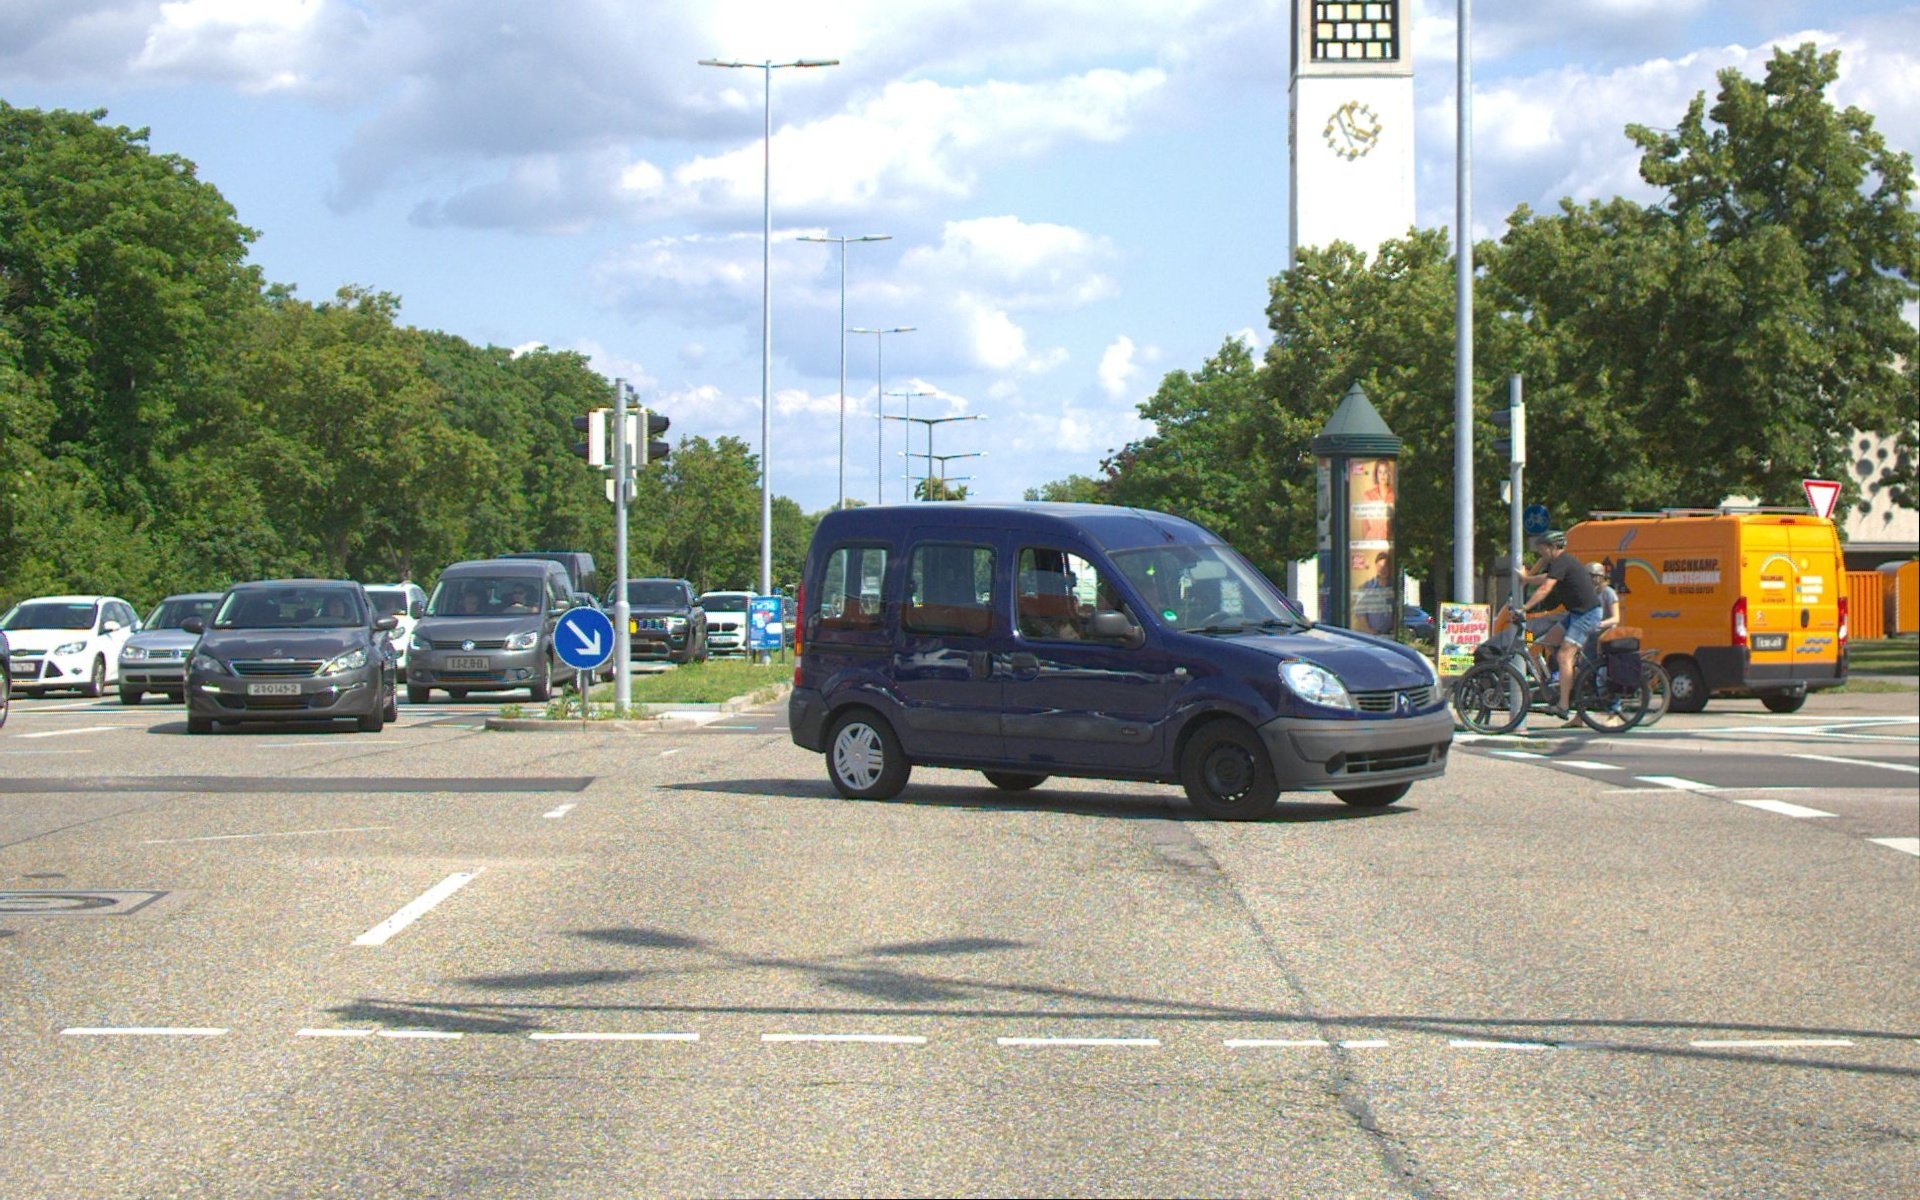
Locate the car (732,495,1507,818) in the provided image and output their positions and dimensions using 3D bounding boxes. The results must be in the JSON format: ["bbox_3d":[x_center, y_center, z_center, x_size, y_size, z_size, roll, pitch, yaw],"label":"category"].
[{"bbox_3d":[0.860,0.278,20.006,4.226,1.654,1.736,2,0,38],"label":"car"}]

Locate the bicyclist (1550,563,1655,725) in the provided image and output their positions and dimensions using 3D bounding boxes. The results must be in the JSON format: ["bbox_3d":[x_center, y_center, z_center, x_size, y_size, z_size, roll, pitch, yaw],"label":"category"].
[{"bbox_3d":[6.507,0.435,34.849,0.698,1.610,0.797,0,0,-24],"label":"bicyclist"}]

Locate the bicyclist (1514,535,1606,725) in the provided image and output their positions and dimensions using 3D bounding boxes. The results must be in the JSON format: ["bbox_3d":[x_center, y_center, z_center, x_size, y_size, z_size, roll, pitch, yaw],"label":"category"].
[{"bbox_3d":[5.763,0.281,33.046,0.787,1.798,0.686,0,0,4],"label":"bicyclist"}]

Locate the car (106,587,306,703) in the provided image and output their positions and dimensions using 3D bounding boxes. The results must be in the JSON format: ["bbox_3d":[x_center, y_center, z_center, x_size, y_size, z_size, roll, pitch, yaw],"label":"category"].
[{"bbox_3d":[-9.816,0.568,45.033,1.725,1.393,4.000,2,0,-1],"label":"car"}]

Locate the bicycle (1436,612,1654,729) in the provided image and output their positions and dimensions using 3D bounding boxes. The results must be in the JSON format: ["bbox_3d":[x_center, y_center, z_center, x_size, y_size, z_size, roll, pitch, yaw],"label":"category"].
[{"bbox_3d":[5.613,0.668,33.062,1.997,1.090,0.686,0,0,4],"label":"bicycle"}]

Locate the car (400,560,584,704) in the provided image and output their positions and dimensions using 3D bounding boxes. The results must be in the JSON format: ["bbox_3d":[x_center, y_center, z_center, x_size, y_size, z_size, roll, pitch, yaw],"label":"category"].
[{"bbox_3d":[-5.925,0.369,43.951,1.734,1.654,4.231,2,1,0],"label":"car"}]

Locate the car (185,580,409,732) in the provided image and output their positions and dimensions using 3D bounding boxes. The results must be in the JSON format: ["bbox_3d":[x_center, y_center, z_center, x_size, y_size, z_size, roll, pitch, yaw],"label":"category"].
[{"bbox_3d":[-6.225,0.502,32.578,1.568,1.311,3.432,2,0,-3],"label":"car"}]

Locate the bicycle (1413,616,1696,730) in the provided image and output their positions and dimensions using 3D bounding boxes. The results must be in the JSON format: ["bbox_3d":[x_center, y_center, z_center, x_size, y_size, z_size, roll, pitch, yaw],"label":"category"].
[{"bbox_3d":[5.994,0.721,34.632,2.832,1.108,0.797,0,1,-24],"label":"bicycle"}]

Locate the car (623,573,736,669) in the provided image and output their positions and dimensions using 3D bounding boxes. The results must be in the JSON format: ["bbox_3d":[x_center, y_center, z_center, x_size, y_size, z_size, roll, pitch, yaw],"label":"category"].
[{"bbox_3d":[-5.152,0.376,63.582,1.734,1.654,4.231,2,0,-1],"label":"car"}]

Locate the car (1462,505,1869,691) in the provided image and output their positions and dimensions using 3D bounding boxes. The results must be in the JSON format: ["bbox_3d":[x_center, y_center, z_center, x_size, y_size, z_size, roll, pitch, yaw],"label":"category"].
[{"bbox_3d":[8.969,-0.055,44.071,2.205,2.218,4.859,2,0,-35],"label":"car"}]

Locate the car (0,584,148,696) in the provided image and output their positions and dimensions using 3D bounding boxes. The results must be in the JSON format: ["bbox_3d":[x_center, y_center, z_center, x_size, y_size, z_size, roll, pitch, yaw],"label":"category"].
[{"bbox_3d":[-13.131,0.551,49.648,1.858,1.508,4.000,2,0,-1],"label":"car"}]

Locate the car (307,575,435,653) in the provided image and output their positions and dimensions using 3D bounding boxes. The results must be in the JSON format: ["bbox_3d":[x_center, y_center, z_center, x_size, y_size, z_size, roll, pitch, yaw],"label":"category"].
[{"bbox_3d":[-9.901,0.233,57.957,1.548,1.213,3.490,2,0,-1],"label":"car"}]

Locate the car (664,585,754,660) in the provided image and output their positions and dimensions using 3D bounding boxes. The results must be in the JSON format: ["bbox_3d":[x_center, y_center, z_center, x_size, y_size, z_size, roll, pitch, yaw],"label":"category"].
[{"bbox_3d":[-5.913,0.523,81.357,1.734,1.654,4.231,2,0,0],"label":"car"}]
